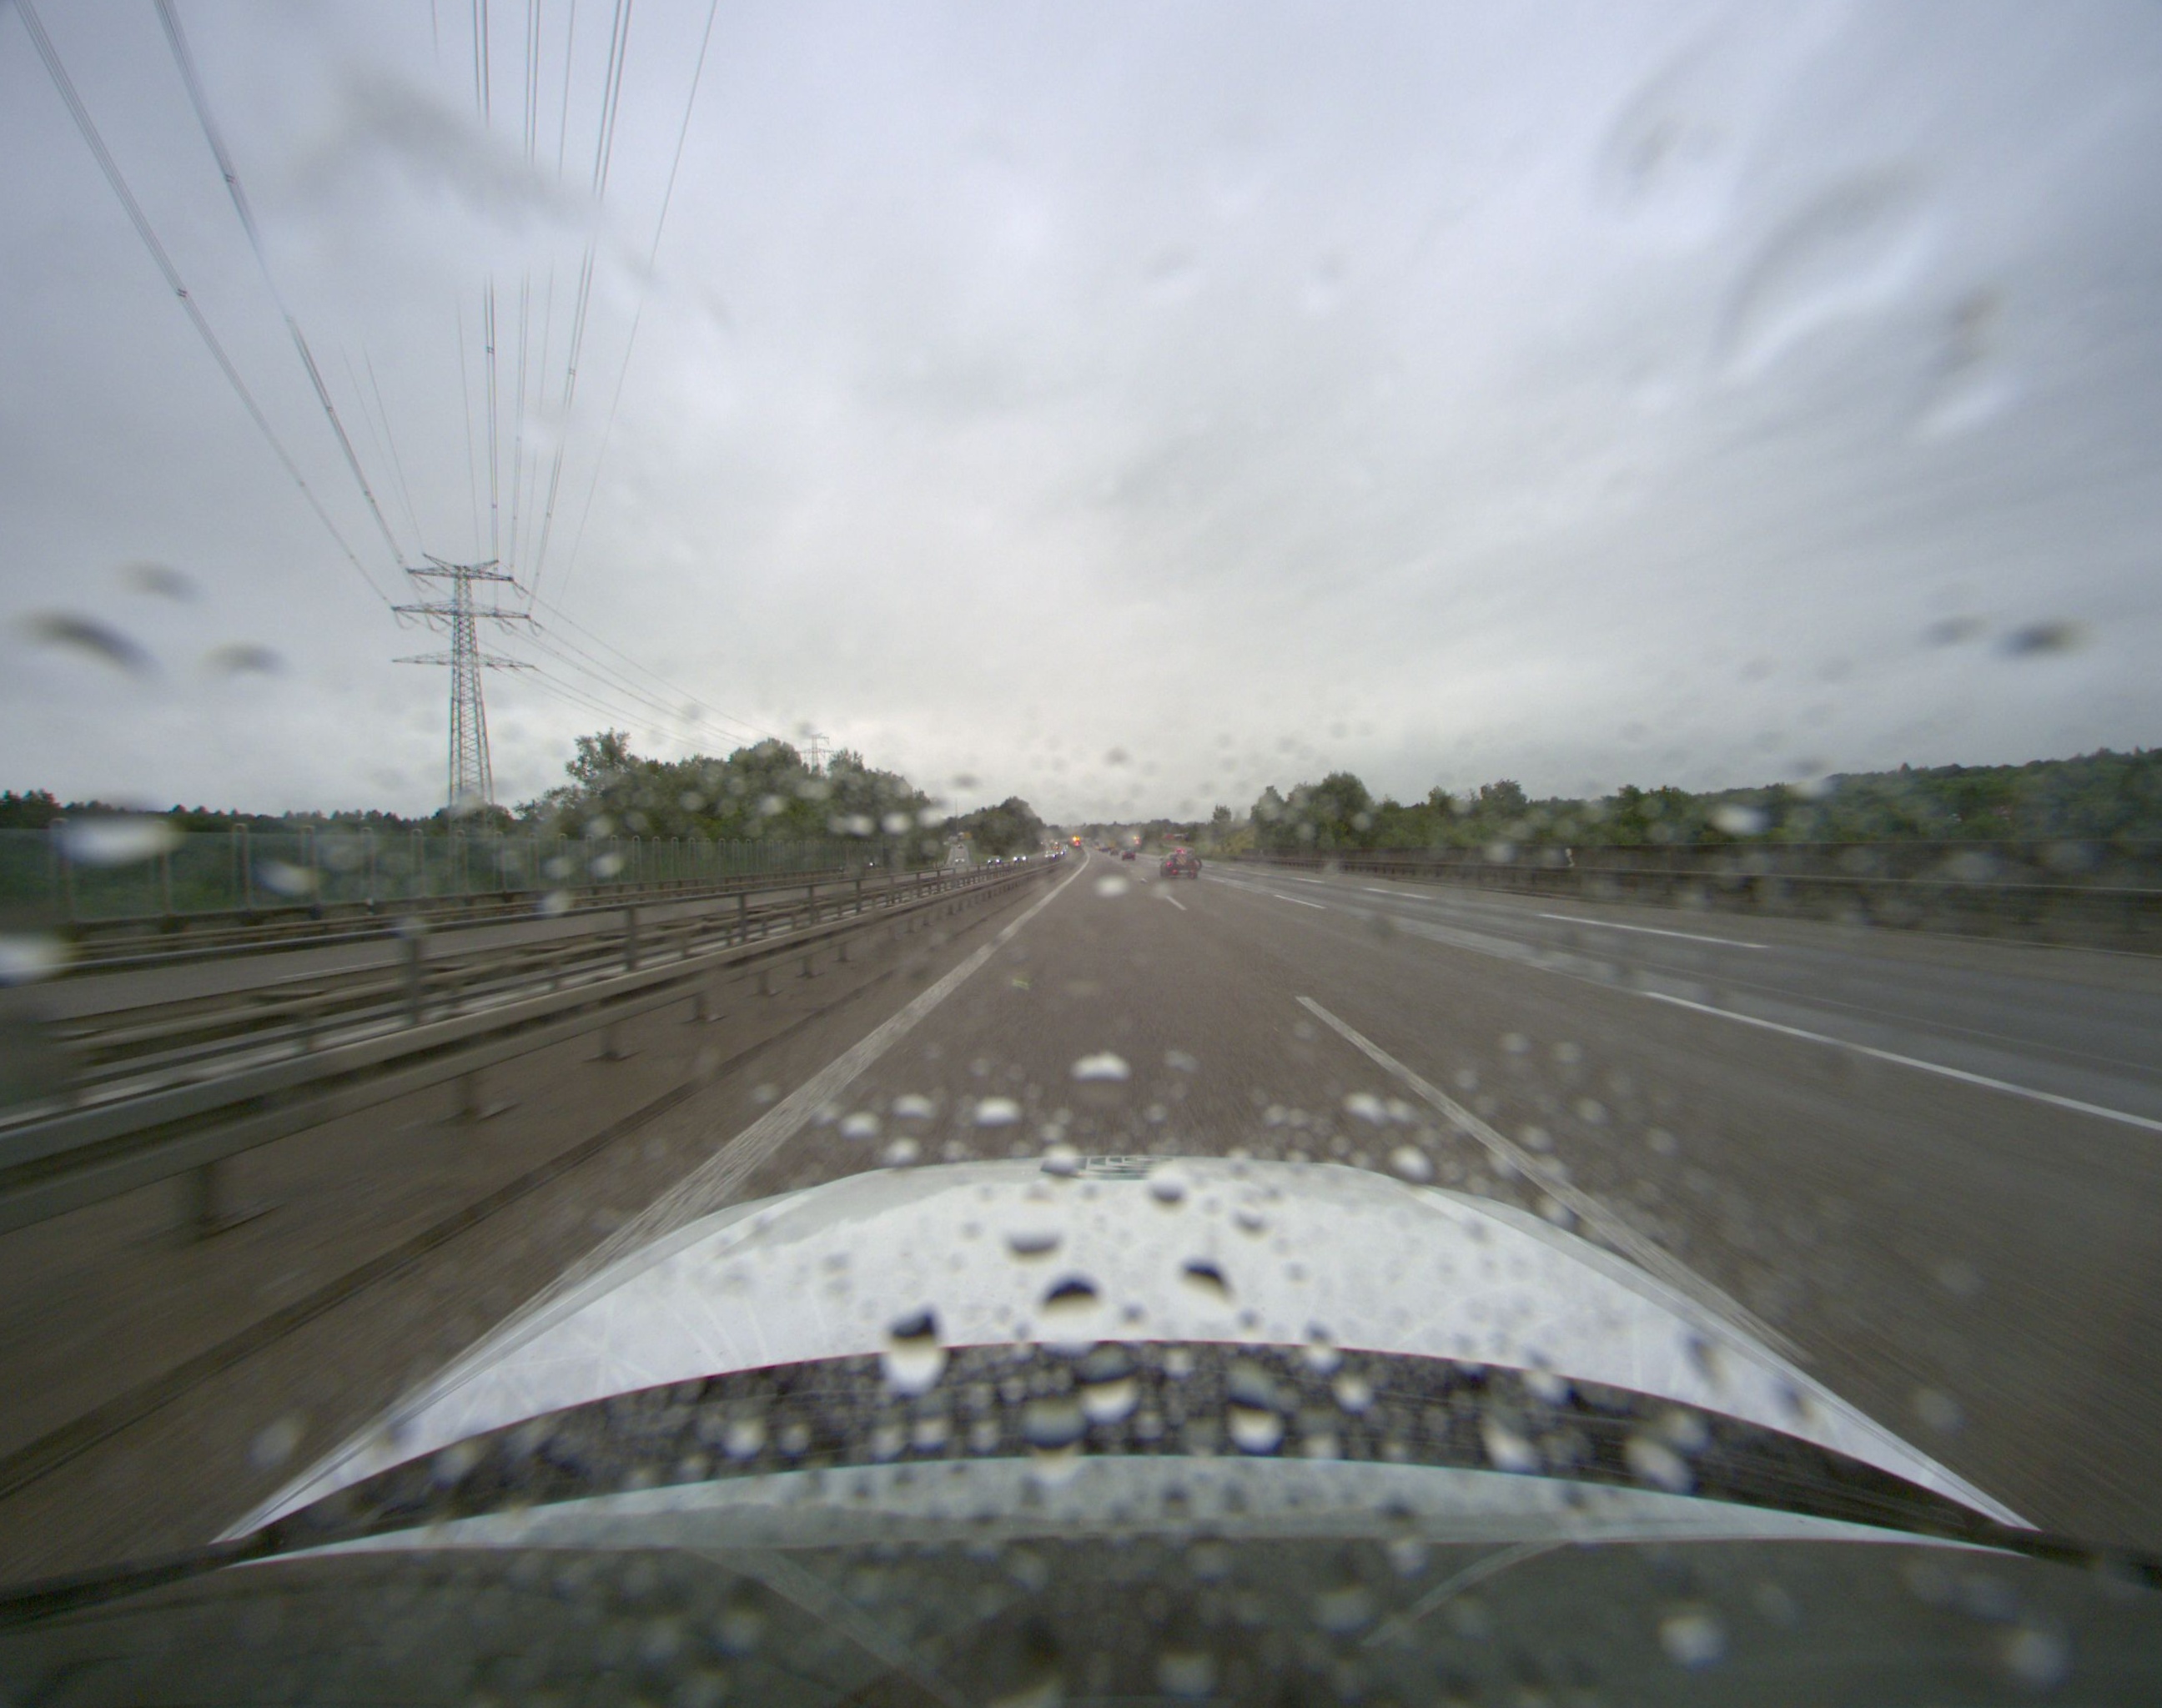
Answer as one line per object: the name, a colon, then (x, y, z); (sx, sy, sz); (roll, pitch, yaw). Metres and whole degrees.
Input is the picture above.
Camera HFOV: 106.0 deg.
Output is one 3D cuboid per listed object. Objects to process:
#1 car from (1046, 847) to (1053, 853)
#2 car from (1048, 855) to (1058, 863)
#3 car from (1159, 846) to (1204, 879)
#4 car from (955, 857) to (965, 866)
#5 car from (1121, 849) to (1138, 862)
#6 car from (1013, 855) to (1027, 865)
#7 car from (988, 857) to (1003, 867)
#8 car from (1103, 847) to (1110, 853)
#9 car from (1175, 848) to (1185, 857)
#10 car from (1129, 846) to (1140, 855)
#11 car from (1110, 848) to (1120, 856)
car: (-9.774, -1.134, 252.431); (1.898, 1.665, 4.714); (-3, 0, 1)
car: (-5.563, 0.933, 161.429); (1.650, 1.437, 4.090); (-3, 0, 1)
car: (5.498, 0.452, 45.242); (2.049, 1.671, 5.526); (-1, 0, 3)
car: (-24.470, 1.485, 164.878); (1.993, 1.670, 3.987); (-2, 0, -9)
car: (6.915, 0.224, 116.053); (1.987, 1.760, 3.999); (-3, 1, -1)
car: (-10.230, 0.948, 136.228); (1.809, 1.437, 4.090); (-4, 0, 1)
car: (-13.568, 1.201, 129.152); (1.809, 1.388, 4.090); (-4, 0, 1)
car: (7.977, -1.223, 251.590); (1.987, 1.628, 3.999); (-3, 1, -1)
car: (20.212, -0.399, 167.001); (1.912, 1.709, 4.007); (-3, 0, 6)
car: (11.855, -0.783, 180.910); (1.987, 1.760, 3.999); (-3, 1, -1)
car: (7.518, -0.489, 181.466); (1.987, 1.628, 3.999); (-3, 1, -1)
